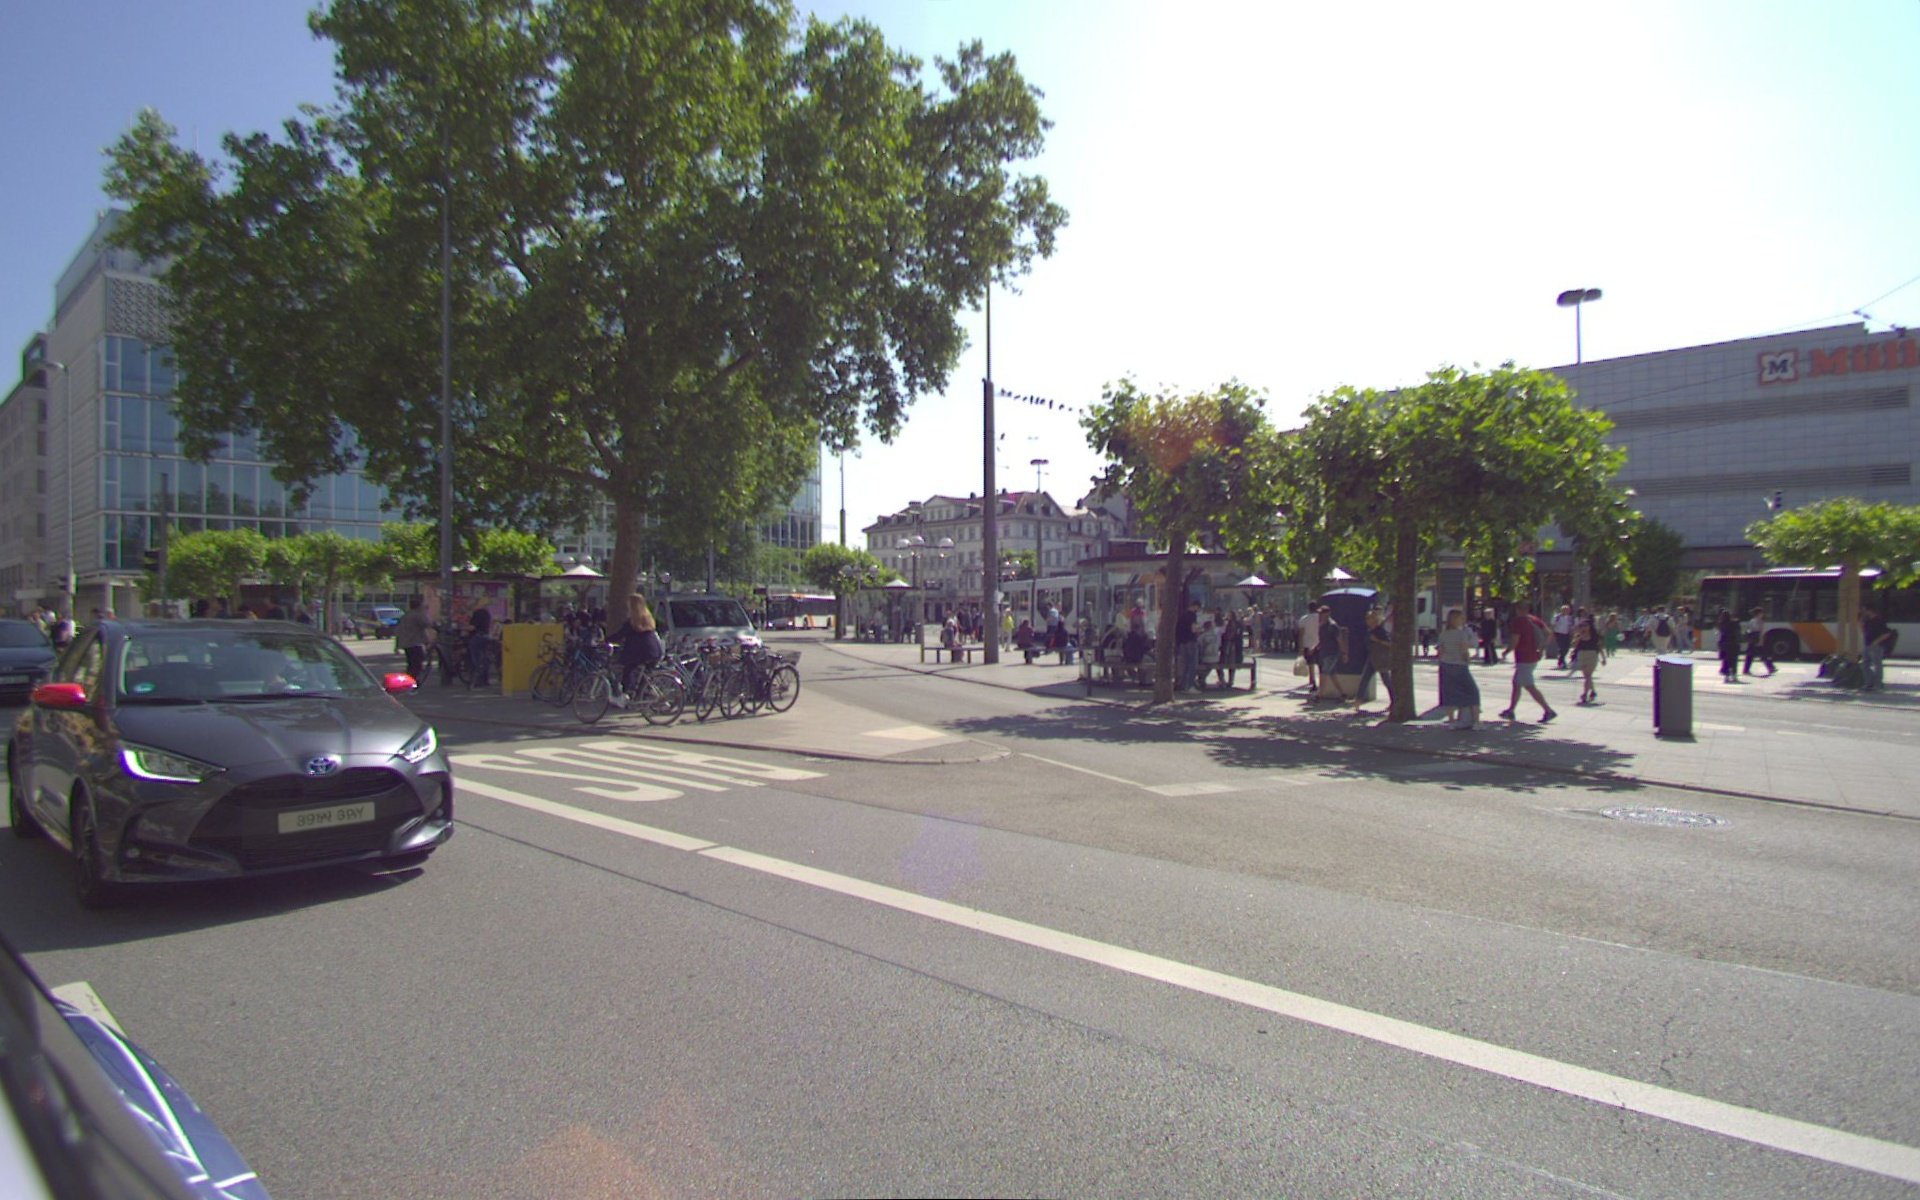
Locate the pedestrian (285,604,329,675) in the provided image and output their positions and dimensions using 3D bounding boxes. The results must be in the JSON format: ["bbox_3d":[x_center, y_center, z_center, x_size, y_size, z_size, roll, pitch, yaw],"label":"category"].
[{"bbox_3d":[-16.669,1.003,25.830,0.666,1.760,0.742,-1,1,39],"label":"pedestrian"}]

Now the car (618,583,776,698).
[{"bbox_3d":[-5.562,0.719,20.869,1.966,2.029,5.083,-2,1,-28],"label":"car"}]

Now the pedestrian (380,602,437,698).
[{"bbox_3d":[-10.155,0.905,18.626,0.639,1.704,0.637,-1,1,28],"label":"pedestrian"}]

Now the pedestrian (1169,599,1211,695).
[{"bbox_3d":[4.459,0.913,19.651,0.671,1.808,0.625,1,-3,-1],"label":"pedestrian"}]

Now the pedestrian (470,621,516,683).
[{"bbox_3d":[-11.385,1.253,24.698,0.671,1.435,0.744,-1,1,31],"label":"pedestrian"}]

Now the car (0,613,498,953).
[{"bbox_3d":[-4.758,0.846,6.418,3.996,1.486,1.759,-1,-2,40],"label":"car"}]

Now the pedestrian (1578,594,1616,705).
[{"bbox_3d":[11.829,0.906,18.816,0.563,2.023,0.686,-1,-1,32],"label":"pedestrian"}]

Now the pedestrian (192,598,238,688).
[{"bbox_3d":[-15.735,0.901,21.366,0.738,1.860,0.587,-1,-2,39],"label":"pedestrian"}]

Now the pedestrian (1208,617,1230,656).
[{"bbox_3d":[10.445,1.465,40.799,0.568,1.561,0.683,2,-4,-23],"label":"pedestrian"}]

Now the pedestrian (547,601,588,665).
[{"bbox_3d":[-11.194,0.926,28.860,0.780,1.760,0.744,-1,1,31],"label":"pedestrian"}]

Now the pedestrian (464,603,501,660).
[{"bbox_3d":[-15.058,0.982,31.926,0.782,1.760,0.742,-1,1,39],"label":"pedestrian"}]

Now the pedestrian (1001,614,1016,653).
[{"bbox_3d":[1.894,1.309,39.735,0.395,1.483,0.405,-2,1,-42],"label":"pedestrian"}]

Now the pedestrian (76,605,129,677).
[{"bbox_3d":[-21.459,1.008,25.320,0.732,1.760,0.865,-1,1,39],"label":"pedestrian"}]

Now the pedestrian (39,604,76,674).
[{"bbox_3d":[-25.557,1.083,28.646,0.732,1.928,0.631,-1,1,39],"label":"pedestrian"}]

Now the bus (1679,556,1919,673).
[{"bbox_3d":[29.657,0.392,30.830,3.014,3.445,12.498,-2,1,-30],"label":"bus"}]

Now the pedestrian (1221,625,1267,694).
[{"bbox_3d":[5.810,1.210,20.760,0.670,1.381,0.804,1,-3,-3],"label":"pedestrian"}]

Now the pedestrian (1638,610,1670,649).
[{"bbox_3d":[28.373,1.214,41.377,0.840,1.561,0.677,0,-3,14],"label":"pedestrian"}]

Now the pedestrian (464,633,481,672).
[{"bbox_3d":[-12.636,1.365,26.223,0.334,0.974,0.282,-2,1,-19],"label":"pedestrian"}]

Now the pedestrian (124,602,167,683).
[{"bbox_3d":[-18.039,0.926,22.415,0.752,1.760,0.605,-1,0,39],"label":"pedestrian"}]

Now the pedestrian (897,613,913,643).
[{"bbox_3d":[-2.695,1.375,49.971,0.547,1.483,0.533,-2,1,-42],"label":"pedestrian"}]

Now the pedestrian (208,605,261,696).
[{"bbox_3d":[-13.676,0.933,19.087,0.620,1.661,0.754,-2,1,-23],"label":"pedestrian"}]

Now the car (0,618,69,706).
[{"bbox_3d":[-16.996,1.033,17.692,3.999,1.415,1.677,-1,-1,42],"label":"car"}]

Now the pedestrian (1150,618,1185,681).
[{"bbox_3d":[4.941,1.173,24.086,0.580,1.477,0.557,2,-4,-28],"label":"pedestrian"}]

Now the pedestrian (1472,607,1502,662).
[{"bbox_3d":[15.775,1.035,30.325,0.675,1.610,0.621,0,-3,19],"label":"pedestrian"}]

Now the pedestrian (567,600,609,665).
[{"bbox_3d":[-10.433,0.897,28.388,0.780,1.760,0.744,-1,1,31],"label":"pedestrian"}]

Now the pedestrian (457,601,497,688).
[{"bbox_3d":[-9.898,0.898,20.745,0.516,1.755,0.511,-1,1,28],"label":"pedestrian"}]

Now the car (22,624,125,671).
[{"bbox_3d":[-43.764,2.315,50.093,1.968,2.029,4.008,-2,1,-9],"label":"car"}]

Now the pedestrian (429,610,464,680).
[{"bbox_3d":[-13.529,1.168,26.684,0.739,1.760,0.785,-2,1,-23],"label":"pedestrian"}]

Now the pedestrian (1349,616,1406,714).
[{"bbox_3d":[6.769,1.042,16.401,0.680,1.536,0.616,-2,-4,41],"label":"pedestrian"}]

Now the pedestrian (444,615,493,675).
[{"bbox_3d":[-12.104,1.101,24.927,0.780,1.418,0.744,-1,1,31],"label":"pedestrian"}]

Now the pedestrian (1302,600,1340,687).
[{"bbox_3d":[7.732,0.936,21.691,0.605,1.830,0.570,-2,-4,40],"label":"pedestrian"}]

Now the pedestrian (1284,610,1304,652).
[{"bbox_3d":[12.697,1.186,38.499,0.675,1.561,0.575,0,-3,17],"label":"pedestrian"}]

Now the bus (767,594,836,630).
[{"bbox_3d":[-13.557,0.932,87.787,2.362,2.811,12.153,-1,1,8],"label":"bus"}]

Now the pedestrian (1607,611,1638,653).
[{"bbox_3d":[23.304,1.133,35.598,0.672,1.477,0.623,0,-3,7],"label":"pedestrian"}]

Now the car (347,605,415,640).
[{"bbox_3d":[-34.871,1.344,60.974,3.989,2.029,1.977,-1,1,34],"label":"car"}]

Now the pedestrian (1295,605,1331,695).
[{"bbox_3d":[6.887,0.980,19.751,0.508,1.732,0.476,-2,-4,41],"label":"pedestrian"}]

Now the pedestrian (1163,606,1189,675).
[{"bbox_3d":[5.658,1.064,26.541,0.485,1.791,0.519,-2,-4,40],"label":"pedestrian"}]

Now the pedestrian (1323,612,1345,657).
[{"bbox_3d":[13.198,1.208,35.712,0.675,1.561,0.575,0,-3,17],"label":"pedestrian"}]

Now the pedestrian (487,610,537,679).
[{"bbox_3d":[-10.760,1.059,24.313,0.780,1.608,0.744,-1,1,31],"label":"pedestrian"}]

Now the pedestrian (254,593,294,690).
[{"bbox_3d":[-13.445,0.802,19.830,0.510,1.849,0.716,-2,1,-42],"label":"pedestrian"}]

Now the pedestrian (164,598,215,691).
[{"bbox_3d":[-15.354,0.874,20.184,0.529,1.796,0.745,-2,1,-15],"label":"pedestrian"}]
